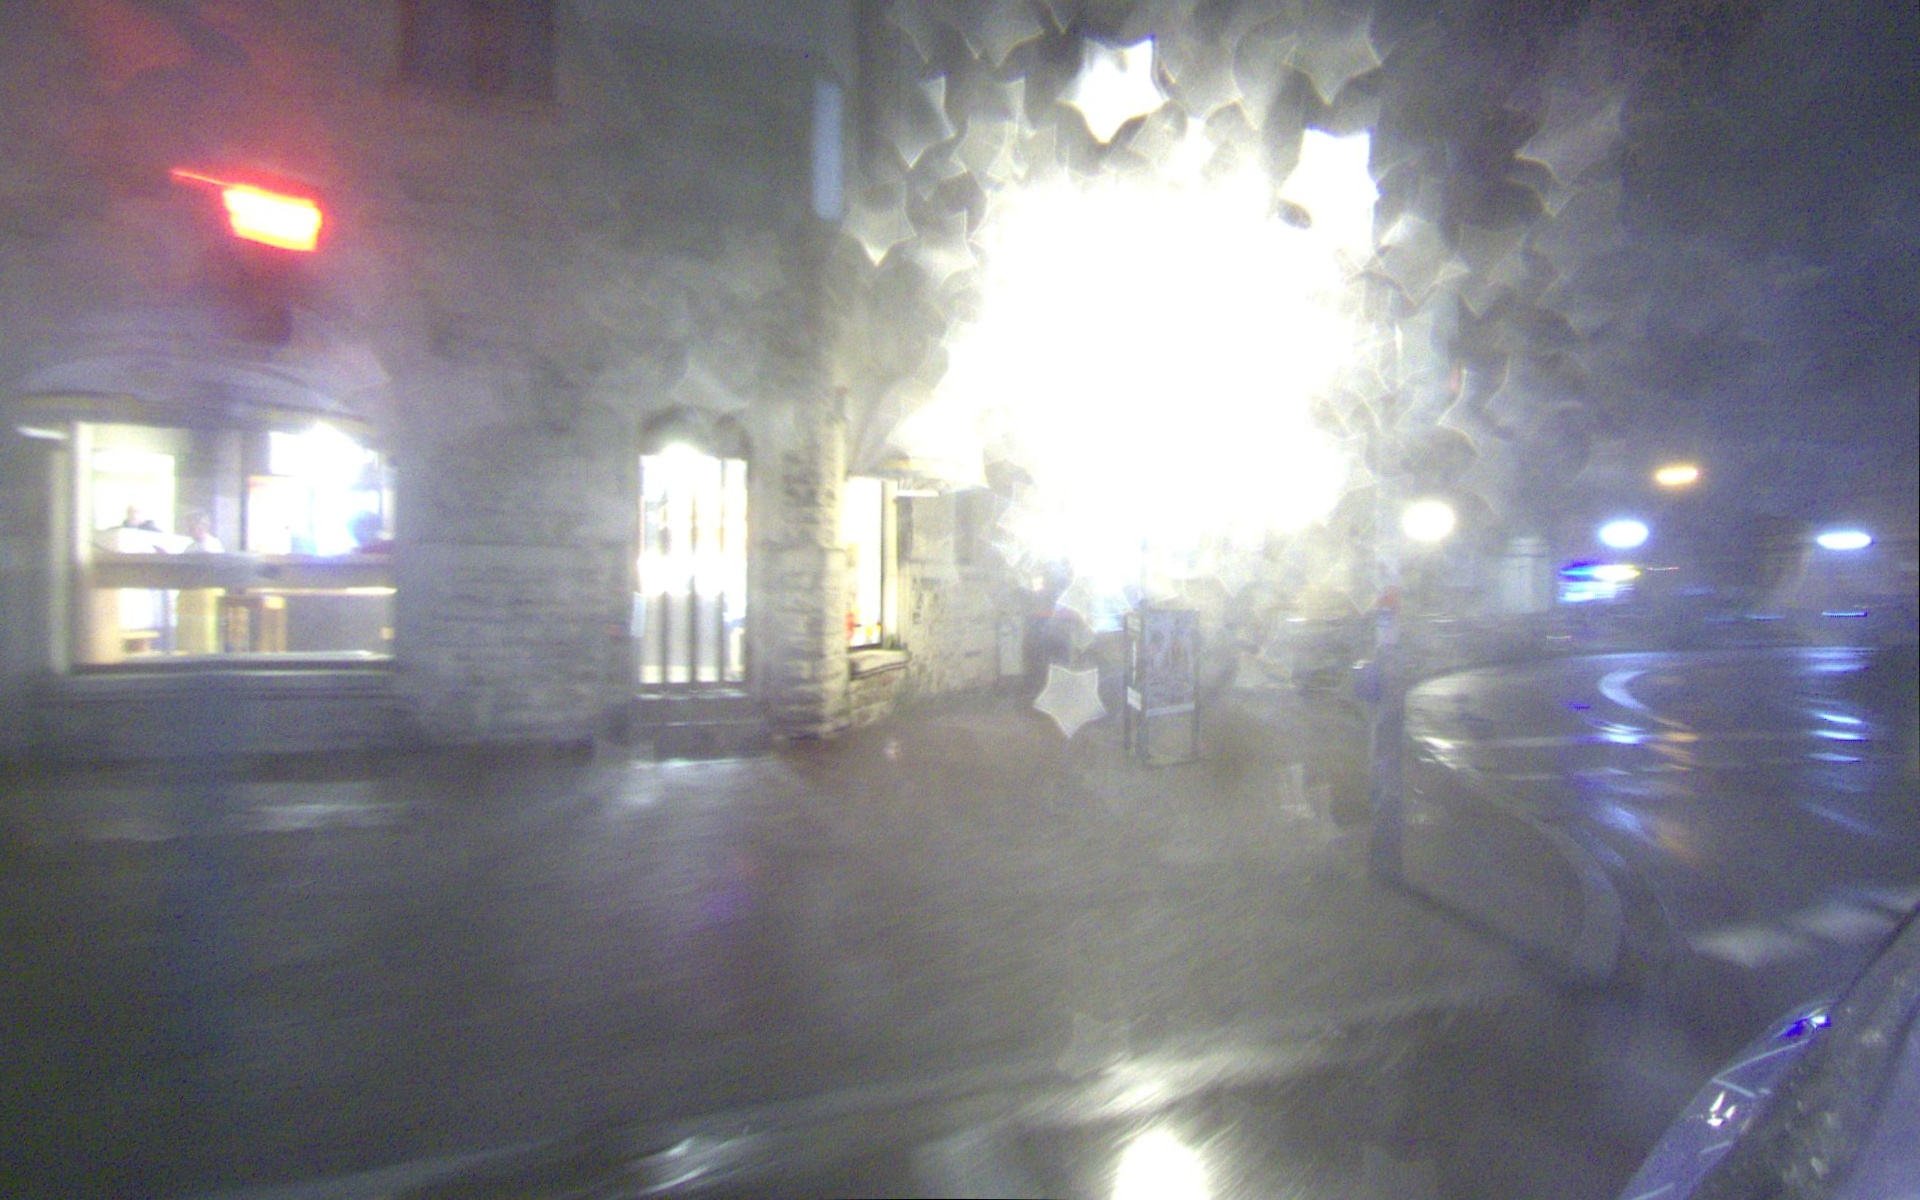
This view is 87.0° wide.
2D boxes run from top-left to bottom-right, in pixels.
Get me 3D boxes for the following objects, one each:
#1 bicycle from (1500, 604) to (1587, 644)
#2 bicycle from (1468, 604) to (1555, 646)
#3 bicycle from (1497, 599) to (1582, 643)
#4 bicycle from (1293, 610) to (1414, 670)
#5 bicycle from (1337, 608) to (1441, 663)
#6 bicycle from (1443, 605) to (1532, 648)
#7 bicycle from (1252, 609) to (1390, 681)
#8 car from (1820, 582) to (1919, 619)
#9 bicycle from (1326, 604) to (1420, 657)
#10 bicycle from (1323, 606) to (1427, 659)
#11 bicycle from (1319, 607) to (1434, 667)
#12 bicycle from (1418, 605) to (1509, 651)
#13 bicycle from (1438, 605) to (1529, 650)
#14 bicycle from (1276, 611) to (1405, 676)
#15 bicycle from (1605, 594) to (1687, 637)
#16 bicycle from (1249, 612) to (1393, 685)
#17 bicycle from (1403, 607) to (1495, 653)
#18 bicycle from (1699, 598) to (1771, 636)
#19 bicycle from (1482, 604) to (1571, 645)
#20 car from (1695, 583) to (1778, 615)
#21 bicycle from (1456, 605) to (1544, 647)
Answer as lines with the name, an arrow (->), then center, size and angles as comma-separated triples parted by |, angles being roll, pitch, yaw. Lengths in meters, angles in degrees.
bicycle -> 15.715, 0.625, 27.315 | 0.716, 1.000, 1.934 | -1, 1, -30
bicycle -> 14.407, 0.640, 26.491 | 0.629, 1.019, 1.977 | -1, 1, -30
bicycle -> 15.966, 0.563, 27.926 | 0.716, 1.129, 1.934 | -1, 1, -30
bicycle -> 7.099, 0.698, 18.282 | 1.959, 1.019, 0.635 | 0, 0, 32
bicycle -> 8.753, 0.701, 20.739 | 0.629, 1.019, 1.977 | -1, 1, -30
bicycle -> 13.328, 0.646, 25.641 | 0.629, 1.019, 1.977 | -1, 1, -30
bicycle -> 5.669, 0.680, 15.940 | 1.959, 1.048, 0.635 | 0, 0, 32
car -> 43.187, 0.011, 47.601 | 1.856, 1.614, 4.488 | -2, 0, 6
bicycle -> 9.033, 0.646, 22.149 | 1.811, 1.100, 0.713 | 0, 0, 32
bicycle -> 8.637, 0.670, 21.131 | 1.947, 1.067, 0.639 | 0, 0, 17
bicycle -> 7.945, 0.689, 19.348 | 1.959, 1.078, 0.635 | 0, 0, 32
bicycle -> 12.279, 0.670, 24.733 | 0.629, 1.047, 1.977 | -1, 1, -30
bicycle -> 12.933, 0.656, 25.063 | 0.629, 1.019, 1.977 | -1, 1, -30
bicycle -> 6.389, 0.712, 17.022 | 1.959, 1.019, 0.635 | 0, 0, 32
bicycle -> 20.335, 0.442, 30.035 | 0.716, 1.232, 1.877 | -1, 1, -30
bicycle -> 5.418, 0.706, 15.241 | 1.959, 1.019, 0.635 | 0, 0, 32
bicycle -> 11.718, 0.694, 24.327 | 0.629, 1.019, 1.977 | -1, 1, -30
bicycle -> 23.889, 0.523, 31.219 | 0.554, 1.095, 1.626 | -3, 1, -31
bicycle -> 15.006, 0.633, 26.856 | 0.674, 1.019, 1.977 | -1, 1, -30
car -> 44.464, -0.049, 58.077 | 1.850, 1.725, 4.276 | -2, 0, 8
bicycle -> 13.851, 0.643, 26.010 | 0.629, 1.019, 1.977 | -1, 1, -30
